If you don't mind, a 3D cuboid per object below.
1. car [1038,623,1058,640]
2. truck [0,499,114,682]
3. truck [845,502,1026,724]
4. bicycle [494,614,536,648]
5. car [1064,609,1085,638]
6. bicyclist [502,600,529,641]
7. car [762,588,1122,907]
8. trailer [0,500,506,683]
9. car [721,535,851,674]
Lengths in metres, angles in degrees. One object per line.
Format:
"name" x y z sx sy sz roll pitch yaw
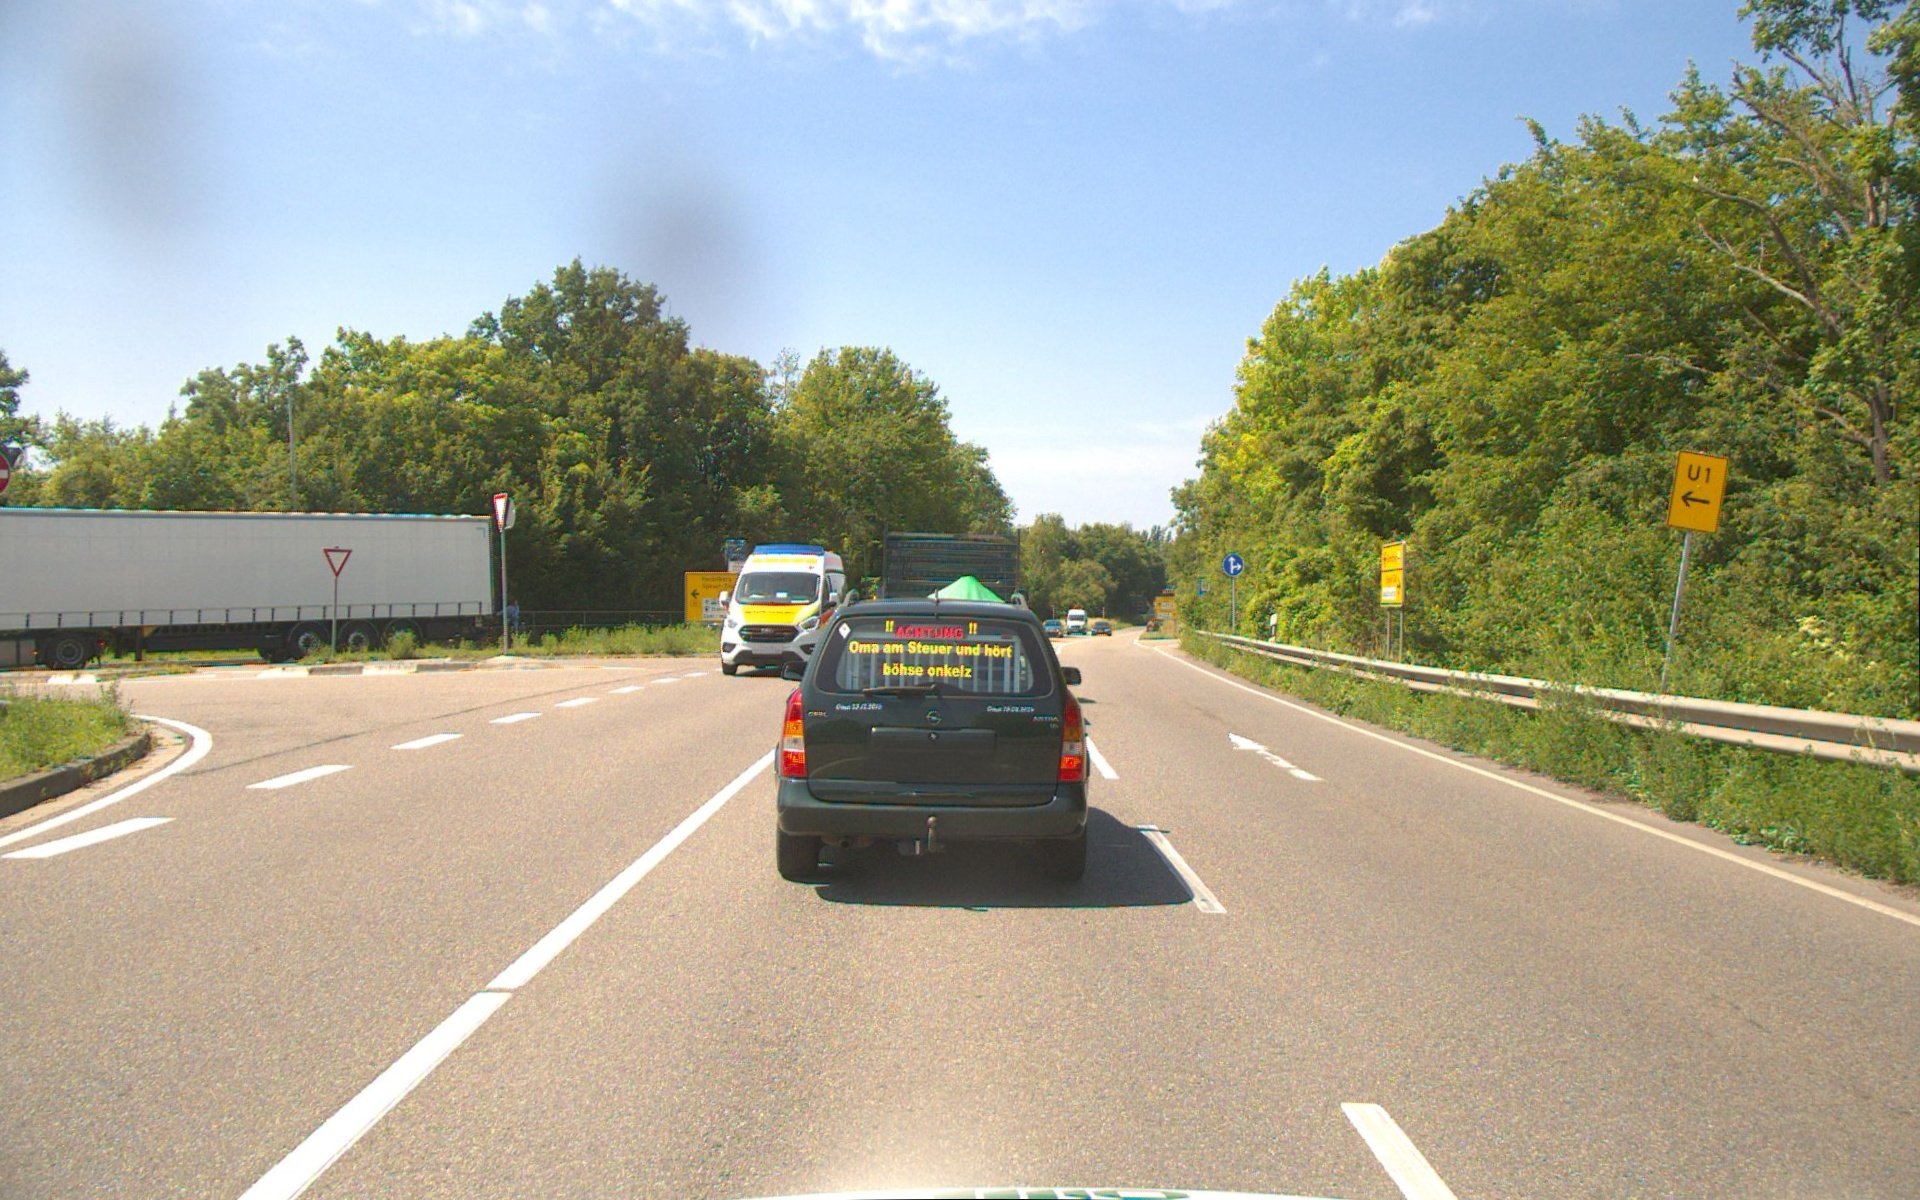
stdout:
"car" 7.460 2.656 140.008 1.610 1.443 3.767 1 0 3
"truck" -24.133 -0.242 40.235 5.869 4.349 2.958 -2 2 -38
"truck" -0.158 0.150 22.948 2.094 2.610 6.641 1 0 2
"bicycle" -15.313 1.064 56.895 0.428 1.133 1.477 0 0 33
"car" 12.030 2.459 173.651 2.061 2.900 6.014 1 0 4
"bicyclist" -15.304 0.690 56.903 0.675 1.387 0.607 1 0 35
"car" -0.069 0.687 9.750 1.685 1.482 3.798 1 0 0
"trailer" -19.250 -0.421 45.121 2.948 4.349 13.700 1 3 43
"car" -3.235 0.068 31.745 1.950 2.409 5.181 1 0 -1
